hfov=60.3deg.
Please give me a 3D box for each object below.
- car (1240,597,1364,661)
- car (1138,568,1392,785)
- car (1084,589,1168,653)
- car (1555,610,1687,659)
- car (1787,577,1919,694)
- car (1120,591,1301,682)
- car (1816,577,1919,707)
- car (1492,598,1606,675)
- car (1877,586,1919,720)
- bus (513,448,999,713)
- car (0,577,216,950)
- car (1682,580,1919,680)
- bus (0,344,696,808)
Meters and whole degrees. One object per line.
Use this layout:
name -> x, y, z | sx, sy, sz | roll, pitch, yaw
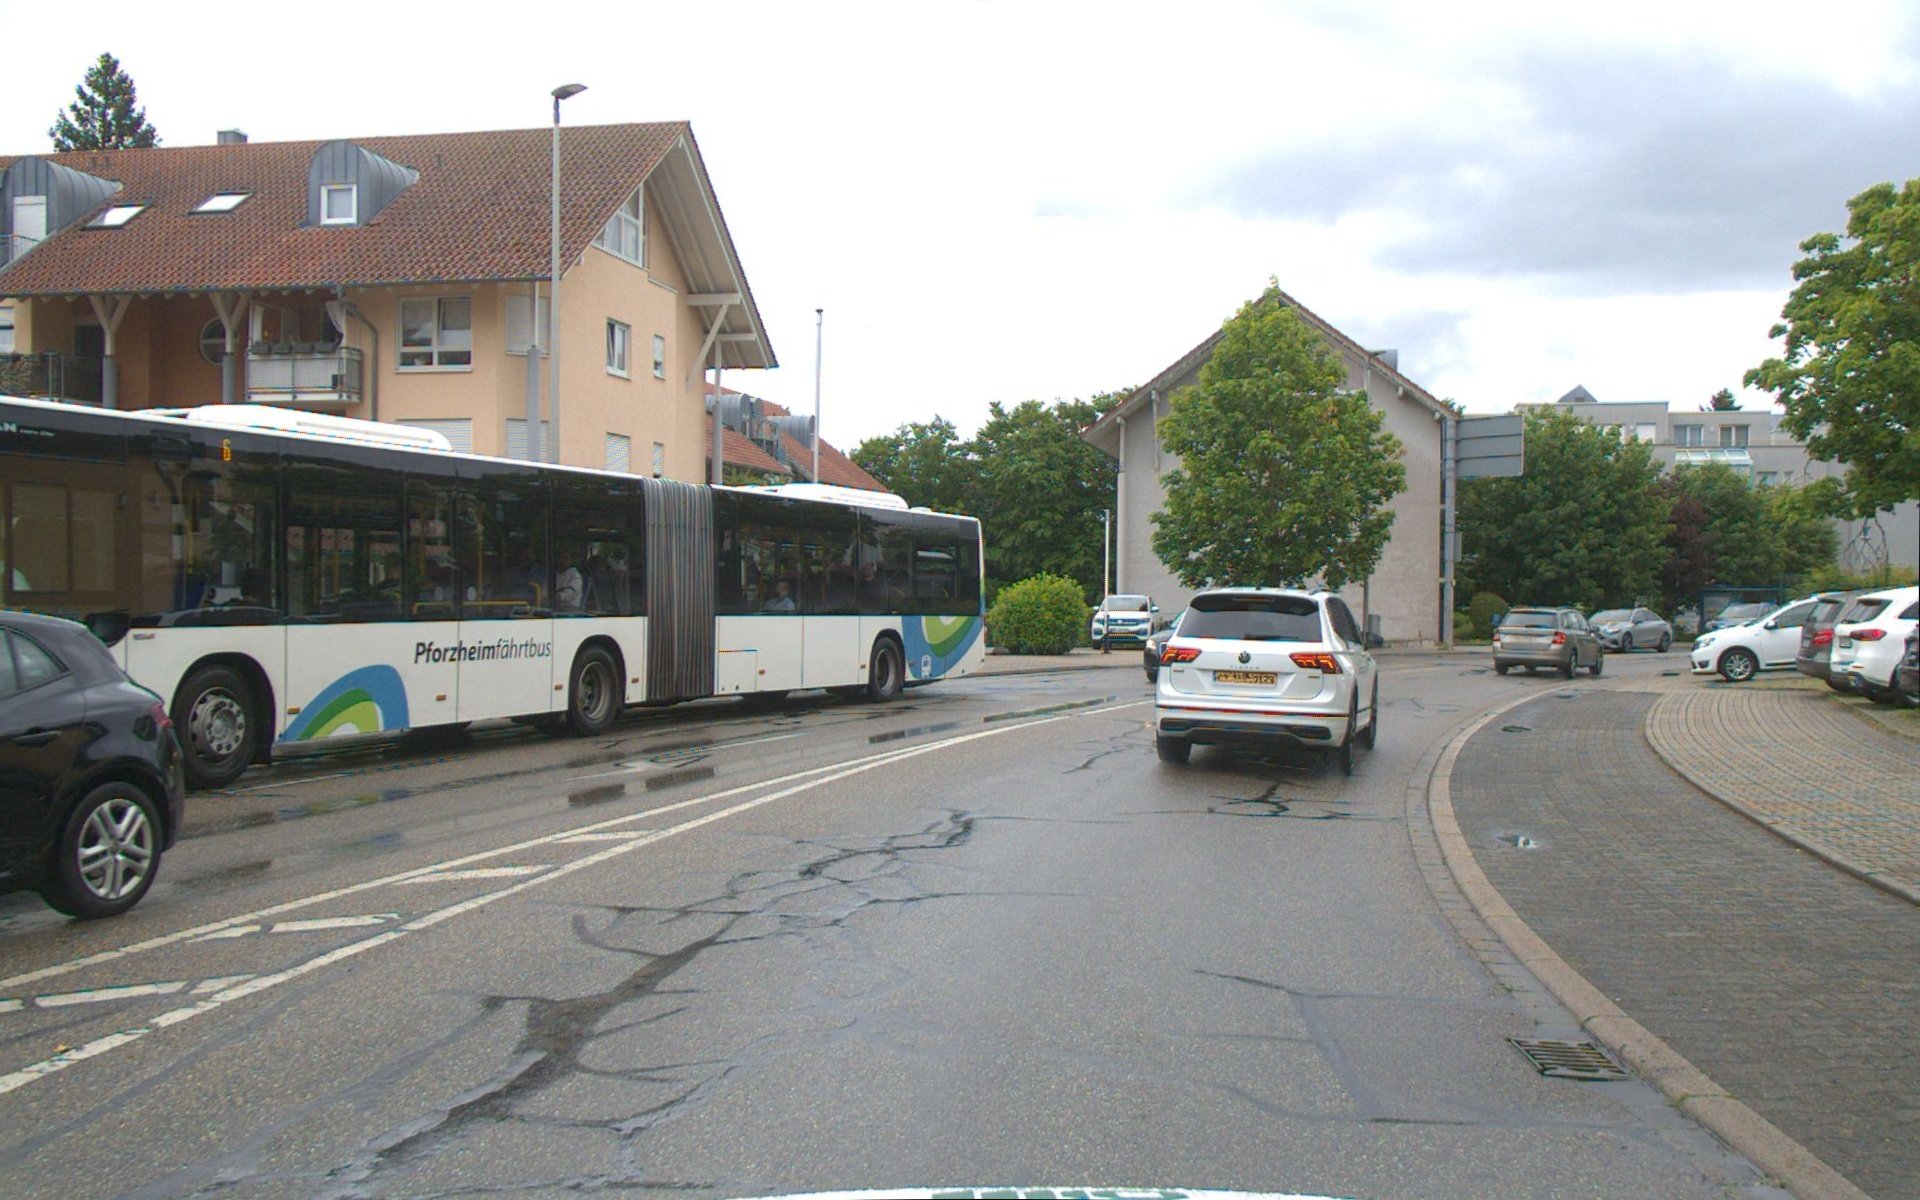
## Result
car -> 8.366, 0.670, 40.306 | 1.561, 1.447, 3.680 | 0, 0, 37
car -> 3.151, 0.605, 16.365 | 1.881, 1.752, 4.267 | 3, 2, 17
car -> 4.842, 0.640, 47.858 | 1.951, 1.680, 4.003 | 2, -2, 12
car -> 21.274, 1.067, 53.183 | 4.440, 1.415, 1.883 | 0, 2, -37
car -> 14.651, 0.450, 24.475 | 3.959, 1.624, 1.906 | -3, -1, 16
car -> 4.719, 0.638, 30.631 | 1.826, 1.545, 4.282 | 1, 0, 31
car -> 13.653, 0.455, 21.632 | 3.958, 1.624, 1.897 | -3, -1, 15
car -> 12.963, 0.835, 36.288 | 1.732, 1.536, 3.993 | 2, -2, 29
car -> 12.984, 0.492, 18.958 | 3.959, 1.516, 1.905 | -3, -1, 19
bus -> -2.419, -0.238, 23.339 | 2.535, 3.052, 8.396 | -1, 0, 27
car -> -5.117, 0.677, 6.339 | 1.909, 1.545, 4.177 | 0, 0, 15
car -> 15.881, 0.559, 30.927 | 4.252, 1.624, 1.765 | -4, -2, 23
bus -> -5.921, -0.166, 15.164 | 2.494, 3.052, 9.203 | -1, 0, 22
